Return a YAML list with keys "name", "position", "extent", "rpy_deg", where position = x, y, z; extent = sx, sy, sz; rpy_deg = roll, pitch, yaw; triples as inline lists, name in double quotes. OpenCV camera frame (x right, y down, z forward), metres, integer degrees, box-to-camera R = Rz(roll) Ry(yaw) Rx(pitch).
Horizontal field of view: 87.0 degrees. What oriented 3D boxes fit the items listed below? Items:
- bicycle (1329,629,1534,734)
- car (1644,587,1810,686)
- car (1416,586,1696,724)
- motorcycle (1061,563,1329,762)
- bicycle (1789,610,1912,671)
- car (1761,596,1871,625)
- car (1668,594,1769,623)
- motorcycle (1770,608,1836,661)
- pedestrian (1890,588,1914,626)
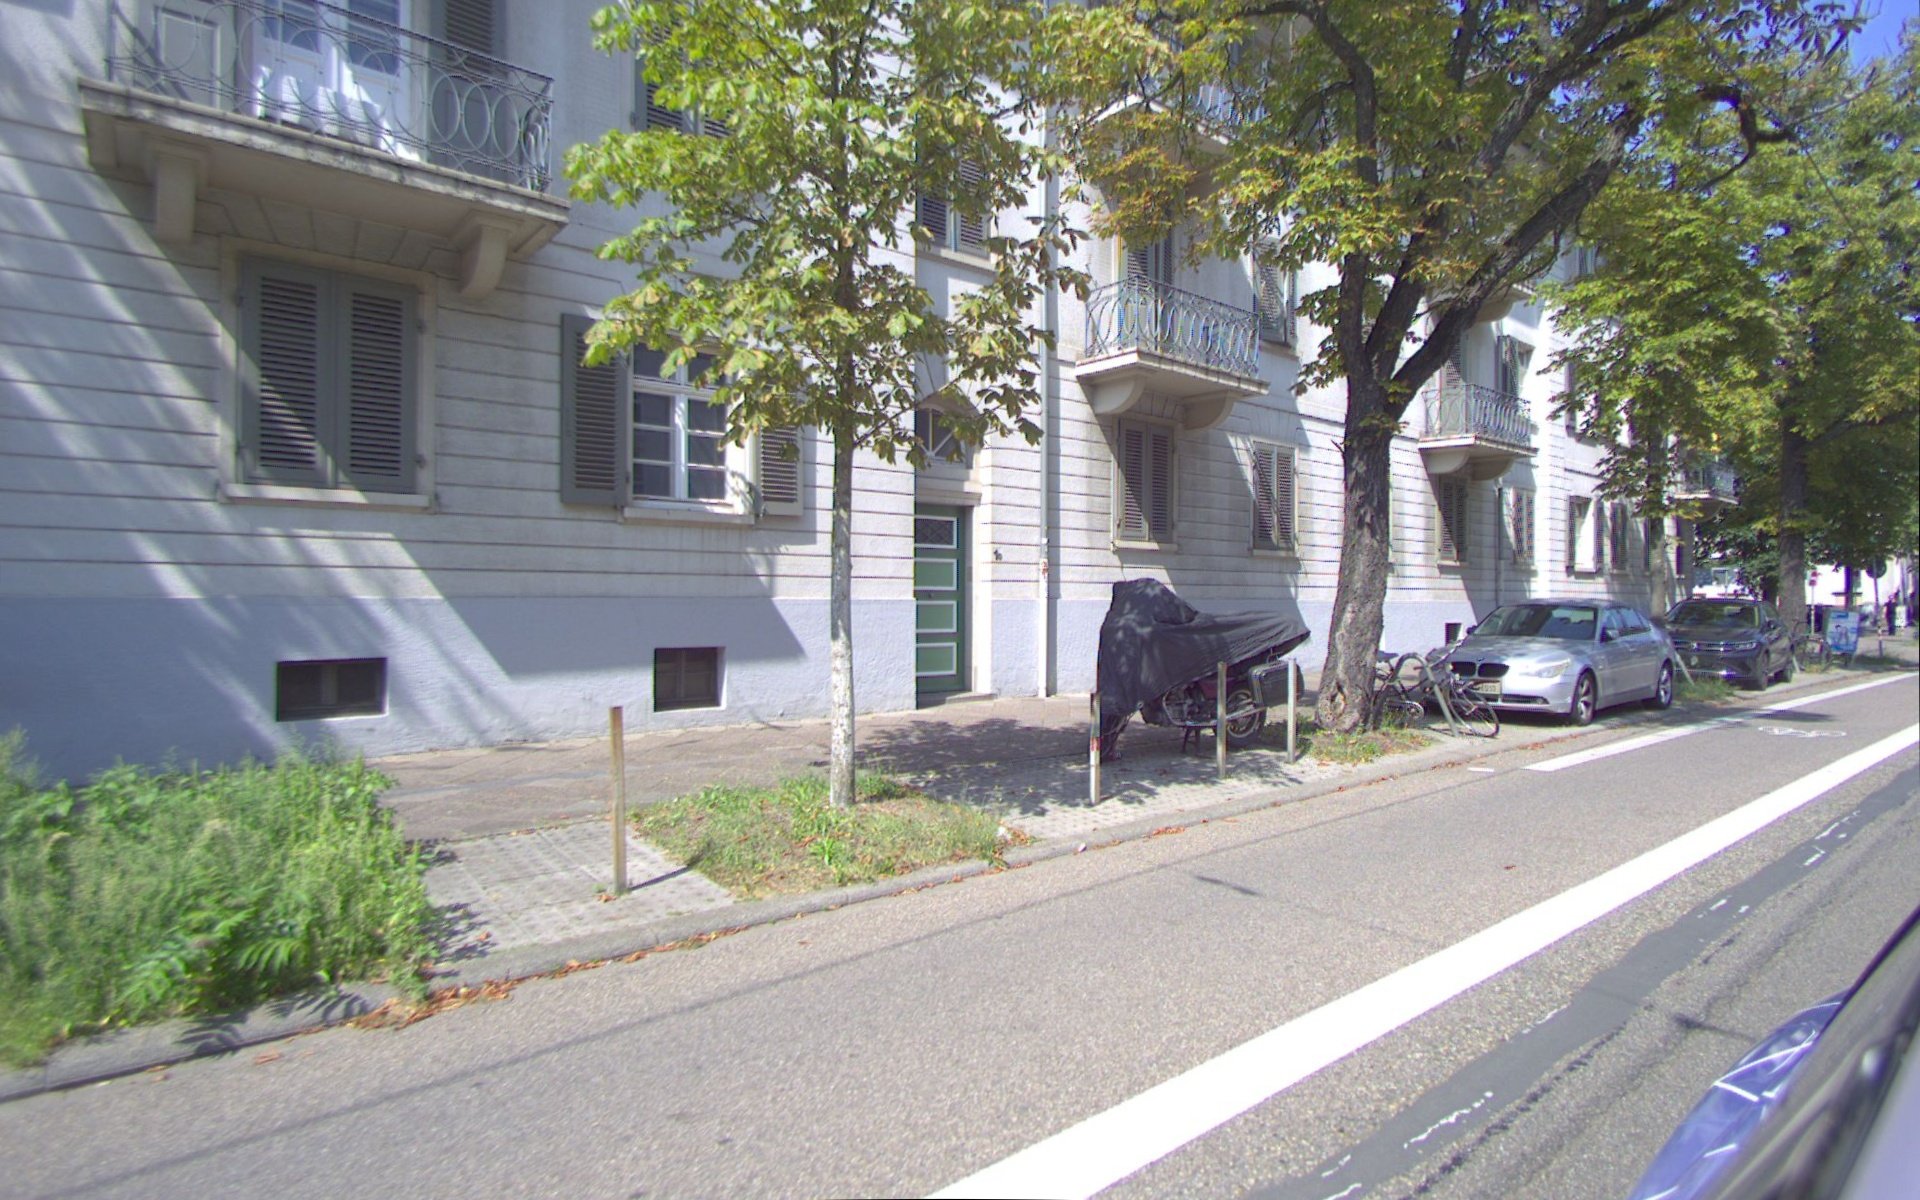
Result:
- name: "bicycle"
  position: [5.052, 0.832, 10.969]
  extent: [0.707, 0.964, 1.929]
  rpy_deg: [0, 0, -35]
- name: "car"
  position: [13.671, 0.554, 17.945]
  extent: [4.360, 1.526, 1.665]
  rpy_deg: [0, 1, -44]
- name: "car"
  position: [7.861, 0.577, 13.150]
  extent: [4.669, 1.469, 1.785]
  rpy_deg: [0, 1, -42]
- name: "motorcycle"
  position: [2.114, 0.481, 8.986]
  extent: [2.364, 1.572, 0.889]
  rpy_deg: [0, 1, -31]
- name: "bicycle"
  position: [17.733, 0.784, 20.181]
  extent: [0.644, 1.137, 1.759]
  rpy_deg: [0, 0, -39]
- name: "car"
  position: [44.796, 0.512, 53.094]
  extent: [1.933, 1.461, 4.008]
  rpy_deg: [0, 0, -16]
- name: "car"
  position: [39.455, 0.400, 52.770]
  extent: [1.799, 1.448, 4.007]
  rpy_deg: [0, 0, -12]
- name: "motorcycle"
  position: [19.429, 0.767, 23.304]
  extent: [2.454, 1.125, 0.828]
  rpy_deg: [0, 0, -42]
- name: "pedestrian"
  position: [44.422, 0.325, 47.735]
  extent: [0.620, 1.808, 0.749]
  rpy_deg: [0, 0, -38]
